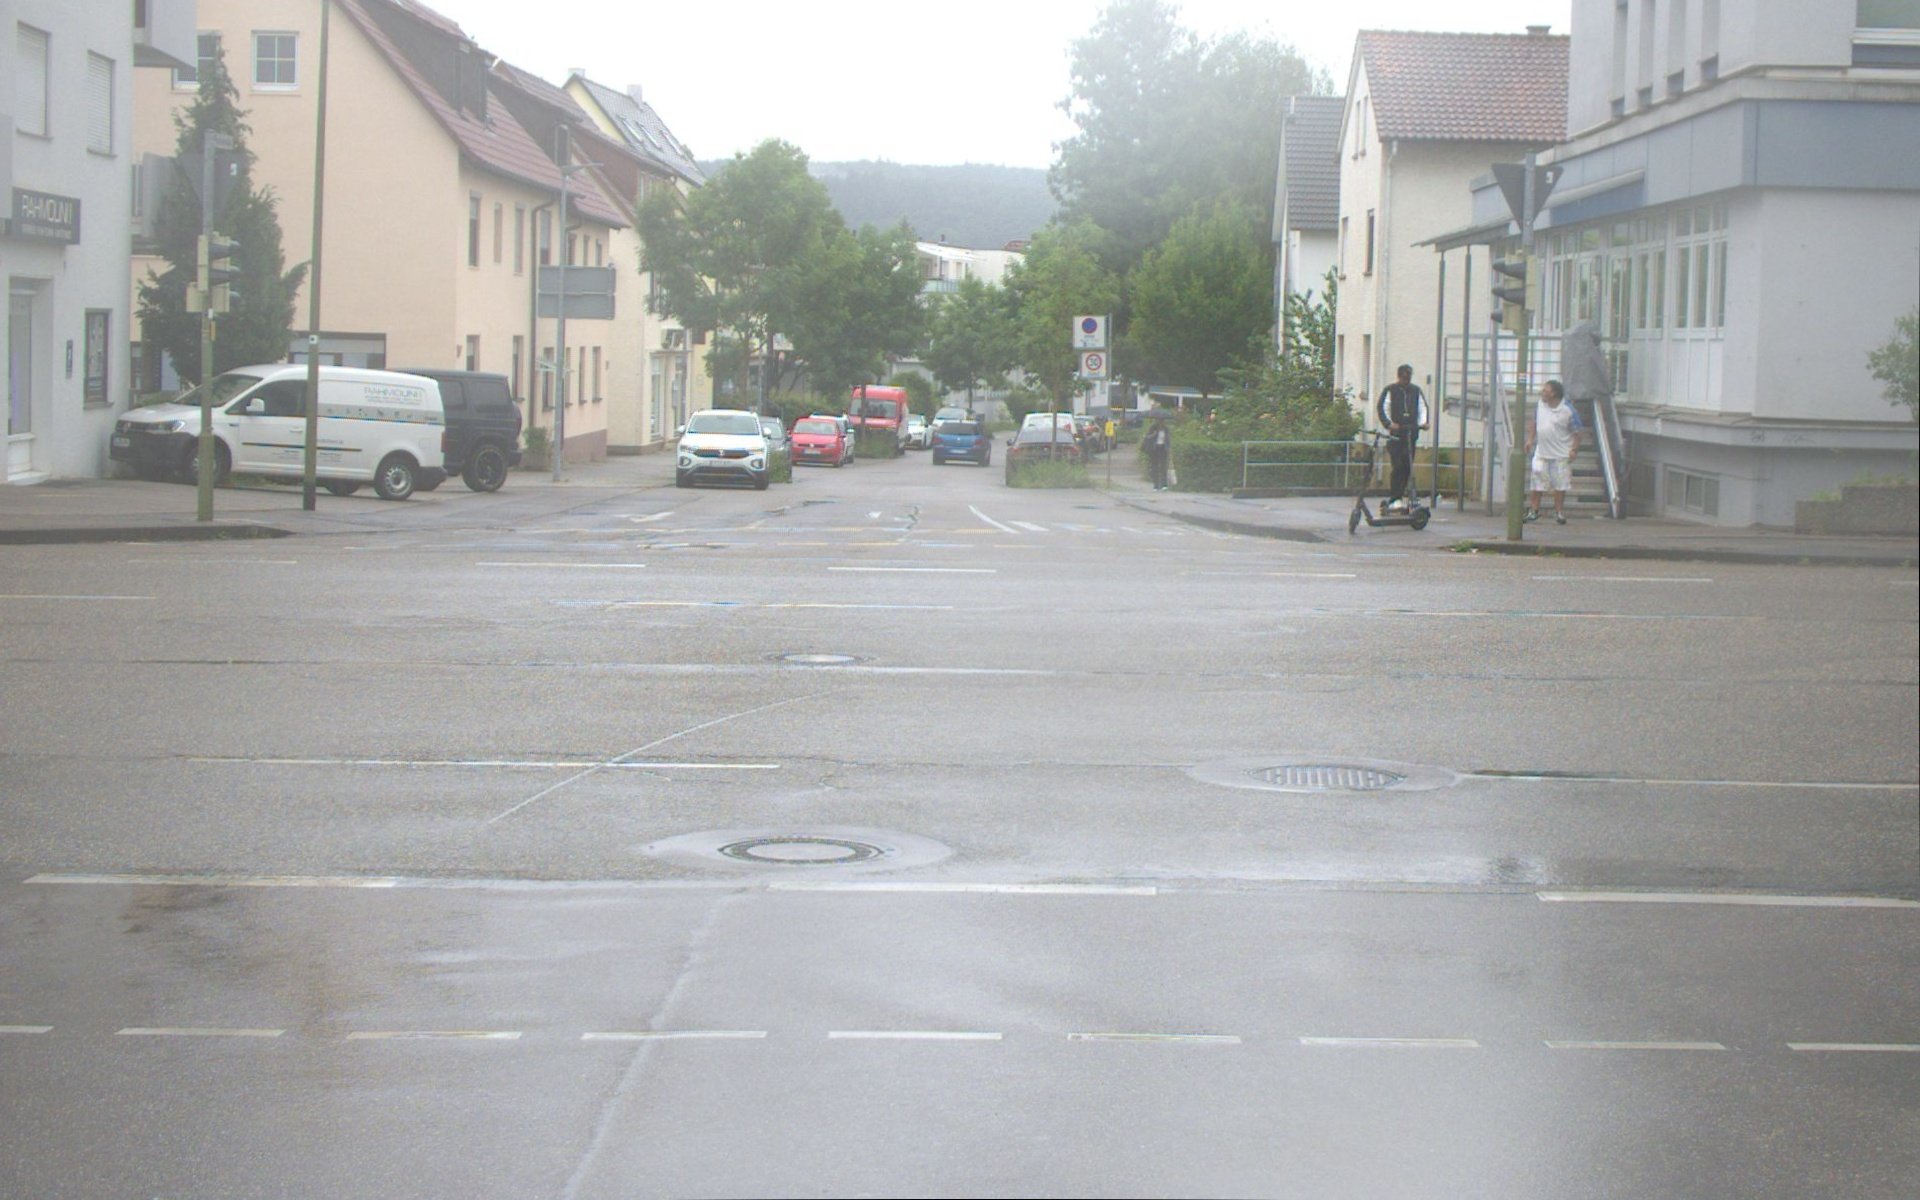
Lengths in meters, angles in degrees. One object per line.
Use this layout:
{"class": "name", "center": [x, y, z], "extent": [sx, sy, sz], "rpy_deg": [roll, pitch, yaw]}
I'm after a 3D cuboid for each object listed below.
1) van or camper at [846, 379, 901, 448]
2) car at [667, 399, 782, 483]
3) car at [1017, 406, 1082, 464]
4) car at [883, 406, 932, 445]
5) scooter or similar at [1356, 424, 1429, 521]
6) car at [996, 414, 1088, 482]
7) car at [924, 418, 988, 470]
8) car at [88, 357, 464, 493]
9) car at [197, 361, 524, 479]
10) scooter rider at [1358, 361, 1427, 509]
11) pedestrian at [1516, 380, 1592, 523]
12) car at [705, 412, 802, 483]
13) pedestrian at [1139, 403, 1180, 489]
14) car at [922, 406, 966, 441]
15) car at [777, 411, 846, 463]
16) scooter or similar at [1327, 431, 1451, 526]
{"class": "van or camper", "center": [-3.196, -6.904, 127.559], "extent": [1.901, 2.504, 4.239], "rpy_deg": [0, 3, 0]}
{"class": "car", "center": [-4.683, -3.186, 68.905], "extent": [1.993, 1.620, 4.192], "rpy_deg": [0, 3, 0]}
{"class": "car", "center": [2.708, -5.016, 104.498], "extent": [1.901, 1.739, 4.192], "rpy_deg": [0, 3, 0]}
{"class": "car", "center": [-2.126, -7.066, 139.523], "extent": [1.901, 1.553, 4.192], "rpy_deg": [0, 3, 0]}
{"class": "scooter or similar", "center": [5.291, -1.564, 42.134], "extent": [0.757, 1.167, 1.314], "rpy_deg": [0, 3, 2]}
{"class": "car", "center": [1.937, -3.645, 82.400], "extent": [2.146, 1.583, 4.128], "rpy_deg": [0, 3, 0]}
{"class": "car", "center": [-0.156, -5.190, 114.092], "extent": [1.993, 1.678, 4.001], "rpy_deg": [0, 3, -2]}
{"class": "car", "center": [-9.632, -2.454, 48.593], "extent": [4.830, 1.829, 2.000], "rpy_deg": [-2, 3, -38]}
{"class": "car", "center": [-9.654, -2.894, 55.537], "extent": [4.830, 1.829, 2.000], "rpy_deg": [-2, 3, -38]}
{"class": "scooter rider", "center": [5.283, -2.017, 42.020], "extent": [0.752, 1.789, 0.673], "rpy_deg": [0, 2, 1]}
{"class": "pedestrian", "center": [7.006, -1.751, 40.549], "extent": [0.647, 1.641, 0.526], "rpy_deg": [4, 2, -6]}
{"class": "car", "center": [-4.801, -3.563, 80.305], "extent": [1.993, 1.620, 4.192], "rpy_deg": [0, 3, 0]}
{"class": "pedestrian", "center": [4.367, -3.371, 75.257], "extent": [0.745, 1.842, 0.526], "rpy_deg": [4, 2, 0]}
{"class": "car", "center": [-0.709, -7.979, 155.501], "extent": [1.901, 1.553, 4.192], "rpy_deg": [0, 3, 0]}
{"class": "car", "center": [-4.522, -4.999, 105.333], "extent": [1.901, 1.553, 4.192], "rpy_deg": [0, 3, 0]}
{"class": "scooter or similar", "center": [4.929, -1.402, 39.572], "extent": [1.268, 1.077, 0.877], "rpy_deg": [0, 3, -4]}
